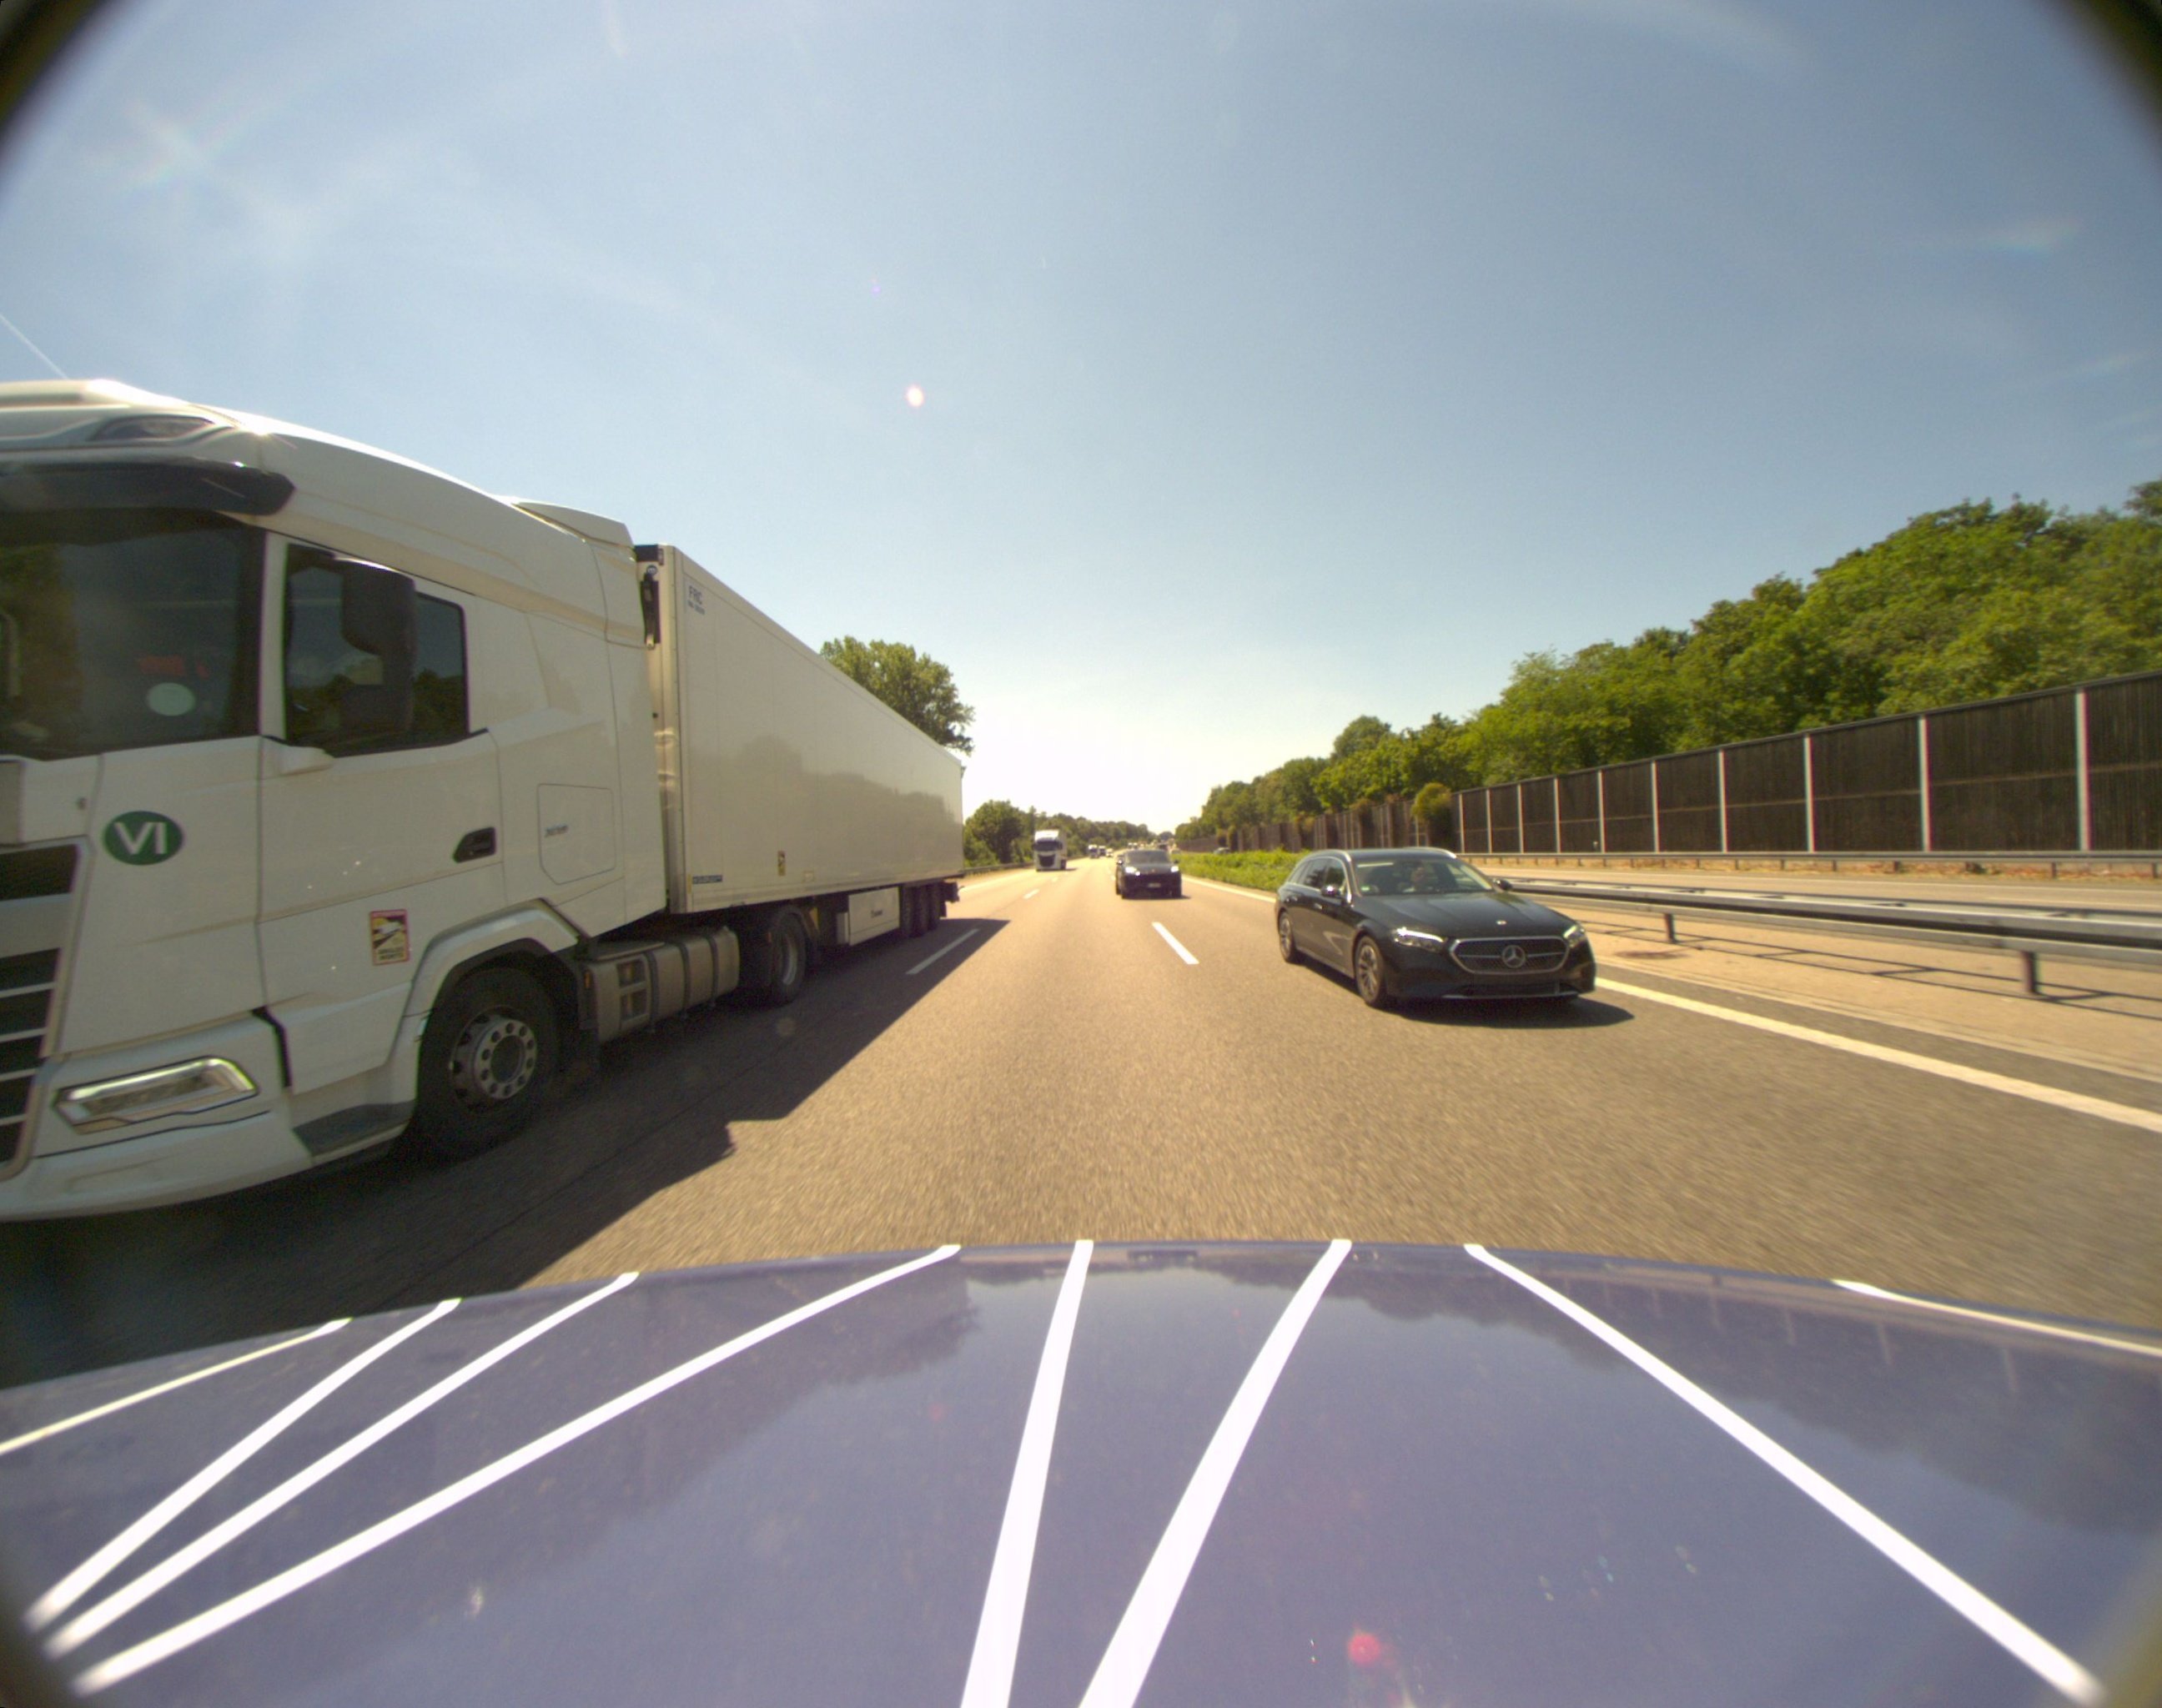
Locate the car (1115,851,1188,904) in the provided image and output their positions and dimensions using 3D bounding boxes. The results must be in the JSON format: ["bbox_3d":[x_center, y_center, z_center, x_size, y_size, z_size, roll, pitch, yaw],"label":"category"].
[{"bbox_3d":[2.374,0.722,26.990,2.049,1.615,5.771,-2,0,0],"label":"car"}]

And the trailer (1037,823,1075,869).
[{"bbox_3d":[-2.573,-0.866,83.238,2.541,4.446,14.163,-2,0,4],"label":"trailer"}]

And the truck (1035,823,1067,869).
[{"bbox_3d":[-2.966,-0.811,77.105,2.541,4.446,5.573,-2,1,4],"label":"truck"}]

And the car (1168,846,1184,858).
[{"bbox_3d":[16.060,-0.383,128.879,1.998,2.002,5.346,-2,0,0],"label":"car"}]

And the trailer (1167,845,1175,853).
[{"bbox_3d":[31.301,-1.677,264.593,2.247,2.760,6.510,-2,0,3],"label":"trailer"}]

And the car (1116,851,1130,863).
[{"bbox_3d":[6.552,0.471,117.553,1.908,1.717,4.377,-2,0,5],"label":"car"}]

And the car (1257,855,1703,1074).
[{"bbox_3d":[3.559,0.805,8.408,1.948,1.498,5.821,-2,0,1],"label":"car"}]

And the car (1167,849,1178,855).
[{"bbox_3d":[23.906,-0.566,198.647,1.999,1.637,4.692,-2,0,0],"label":"car"}]

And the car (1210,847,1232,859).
[{"bbox_3d":[19.241,-0.144,104.641,1.998,1.634,5.586,-2,0,0],"label":"car"}]

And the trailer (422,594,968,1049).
[{"bbox_3d":[-4.455,-0.316,13.229,2.967,4.082,12.531,-2,0,0],"label":"trailer"}]

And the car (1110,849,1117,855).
[{"bbox_3d":[10.338,-0.630,241.273,1.908,1.717,4.871,-2,0,5],"label":"car"}]

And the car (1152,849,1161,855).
[{"bbox_3d":[19.107,-0.511,192.198,1.998,1.637,5.045,-2,0,1],"label":"car"}]

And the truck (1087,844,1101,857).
[{"bbox_3d":[3.989,-1.049,226.728,3.073,3.617,12.404,-2,0,5],"label":"truck"}]

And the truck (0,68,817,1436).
[{"bbox_3d":[-4.514,-0.247,5.374,2.967,4.082,6.206,-2,0,0],"label":"truck"}]
